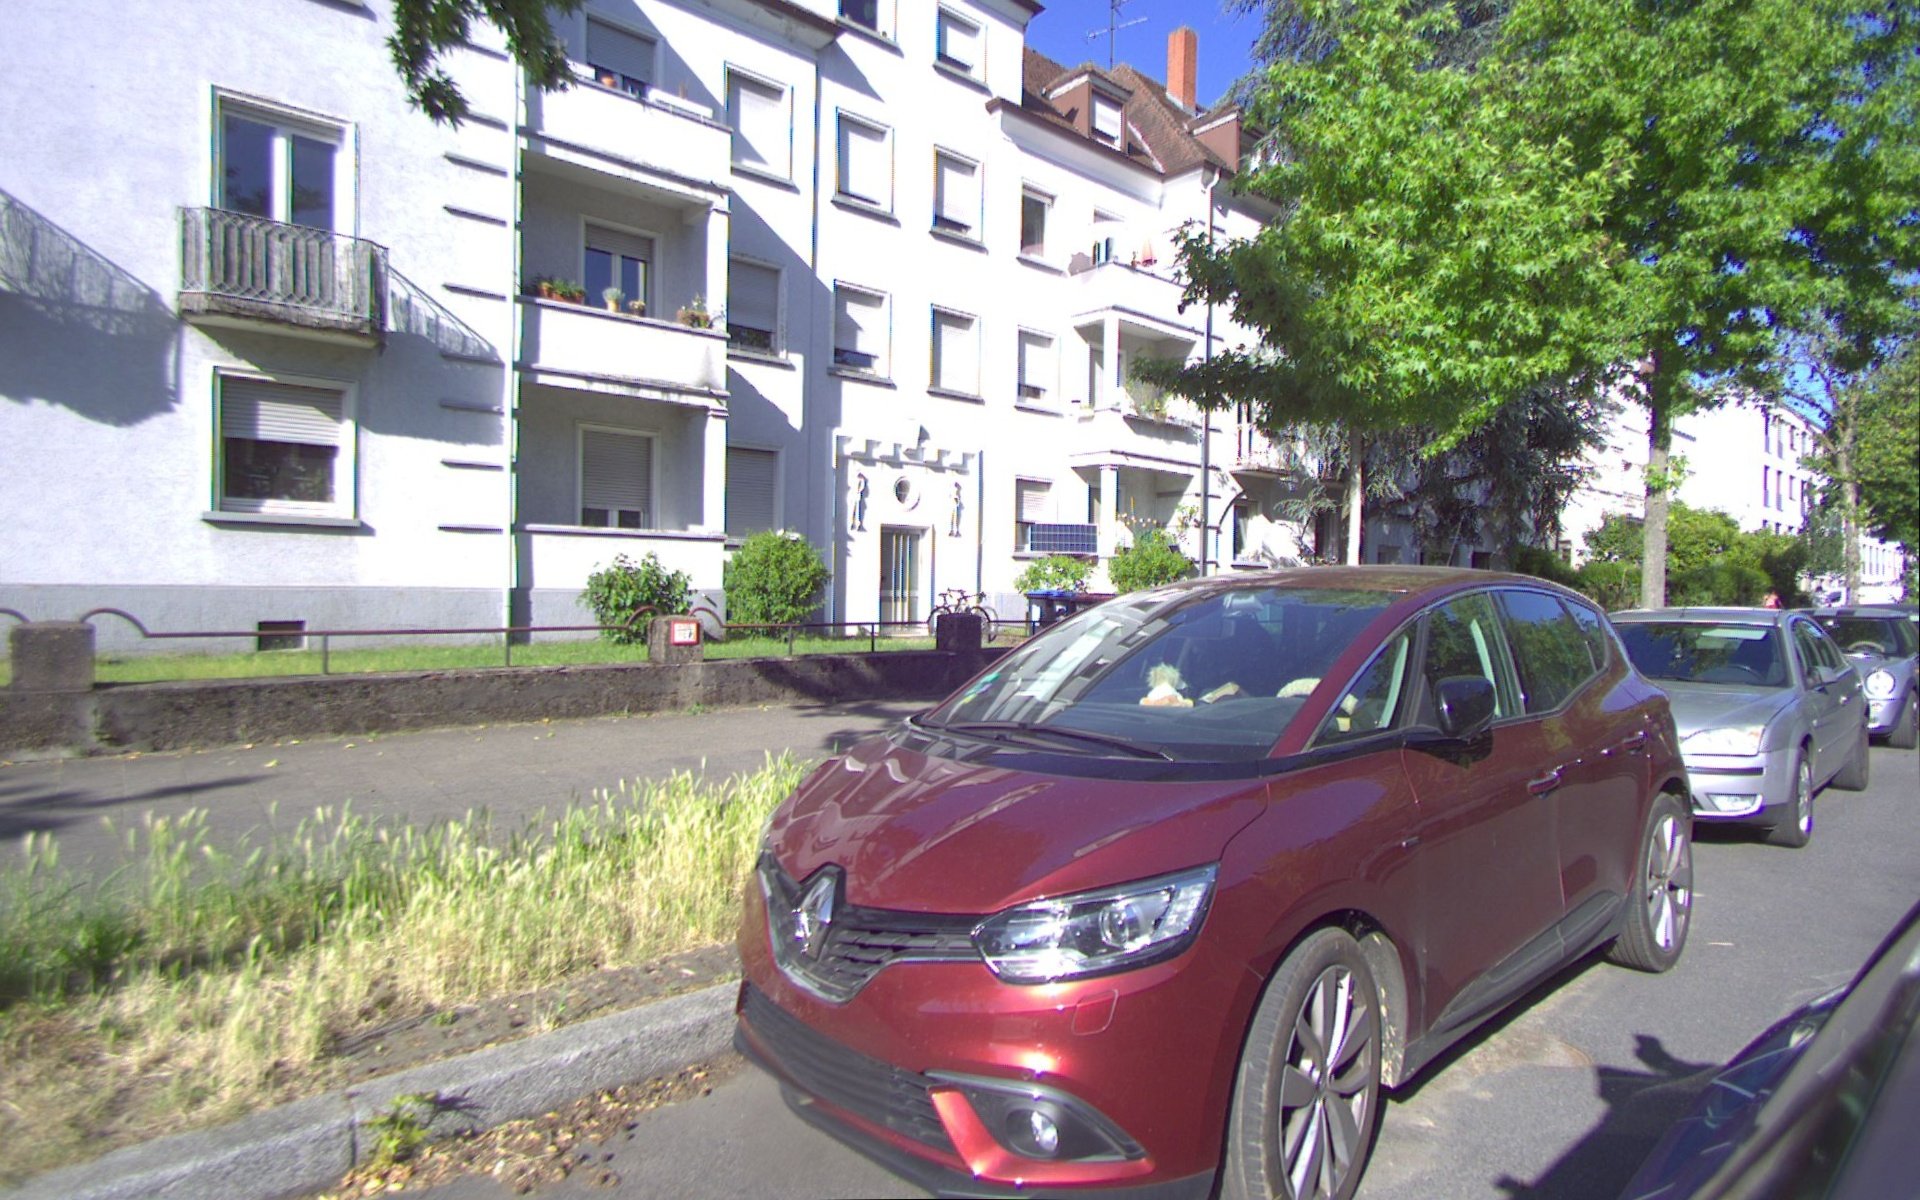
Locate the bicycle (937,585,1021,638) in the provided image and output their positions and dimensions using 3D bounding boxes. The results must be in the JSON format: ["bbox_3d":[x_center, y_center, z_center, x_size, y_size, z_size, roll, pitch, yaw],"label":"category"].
[{"bbox_3d":[0.355,0.201,19.964,0.548,0.929,2.037,-1,3,-35],"label":"bicycle"}]

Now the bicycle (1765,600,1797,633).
[{"bbox_3d":[26.002,0.514,32.044,1.756,0.973,0.459,-1,3,-41],"label":"bicycle"}]

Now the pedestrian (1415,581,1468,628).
[{"bbox_3d":[12.163,0.106,25.547,1.033,1.157,0.705,-1,0,44],"label":"pedestrian"}]

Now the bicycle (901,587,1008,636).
[{"bbox_3d":[-0.123,0.198,16.953,0.615,0.779,2.064,-1,-1,-40],"label":"bicycle"}]

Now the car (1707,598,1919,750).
[{"bbox_3d":[10.013,0.708,11.414,3.631,1.415,1.767,-1,0,-40],"label":"car"}]

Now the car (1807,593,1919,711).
[{"bbox_3d":[13.504,0.659,14.505,3.806,1.482,1.607,-1,0,-43],"label":"car"}]

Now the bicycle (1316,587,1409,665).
[{"bbox_3d":[6.687,0.406,16.755,2.138,1.212,0.489,-1,-1,-42],"label":"bicycle"}]

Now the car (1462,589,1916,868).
[{"bbox_3d":[5.606,0.674,7.549,4.411,1.424,1.715,-1,3,-40],"label":"car"}]

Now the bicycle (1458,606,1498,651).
[{"bbox_3d":[10.214,0.554,19.936,1.032,0.860,0.331,0,1,-41],"label":"bicycle"}]

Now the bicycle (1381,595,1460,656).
[{"bbox_3d":[8.469,0.456,18.550,2.211,1.025,0.432,-1,-4,-43],"label":"bicycle"}]

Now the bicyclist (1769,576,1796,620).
[{"bbox_3d":[26.091,-0.061,32.115,0.706,1.355,0.497,-1,3,-41],"label":"bicyclist"}]

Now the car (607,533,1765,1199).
[{"bbox_3d":[1.252,0.614,3.837,4.513,1.586,1.934,-1,4,-40],"label":"car"}]

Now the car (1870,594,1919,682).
[{"bbox_3d":[17.645,0.629,18.143,3.947,1.442,1.607,-1,0,-43],"label":"car"}]

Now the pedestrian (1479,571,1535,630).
[{"bbox_3d":[13.336,-0.008,24.681,1.021,1.395,0.713,1,1,15],"label":"pedestrian"}]
